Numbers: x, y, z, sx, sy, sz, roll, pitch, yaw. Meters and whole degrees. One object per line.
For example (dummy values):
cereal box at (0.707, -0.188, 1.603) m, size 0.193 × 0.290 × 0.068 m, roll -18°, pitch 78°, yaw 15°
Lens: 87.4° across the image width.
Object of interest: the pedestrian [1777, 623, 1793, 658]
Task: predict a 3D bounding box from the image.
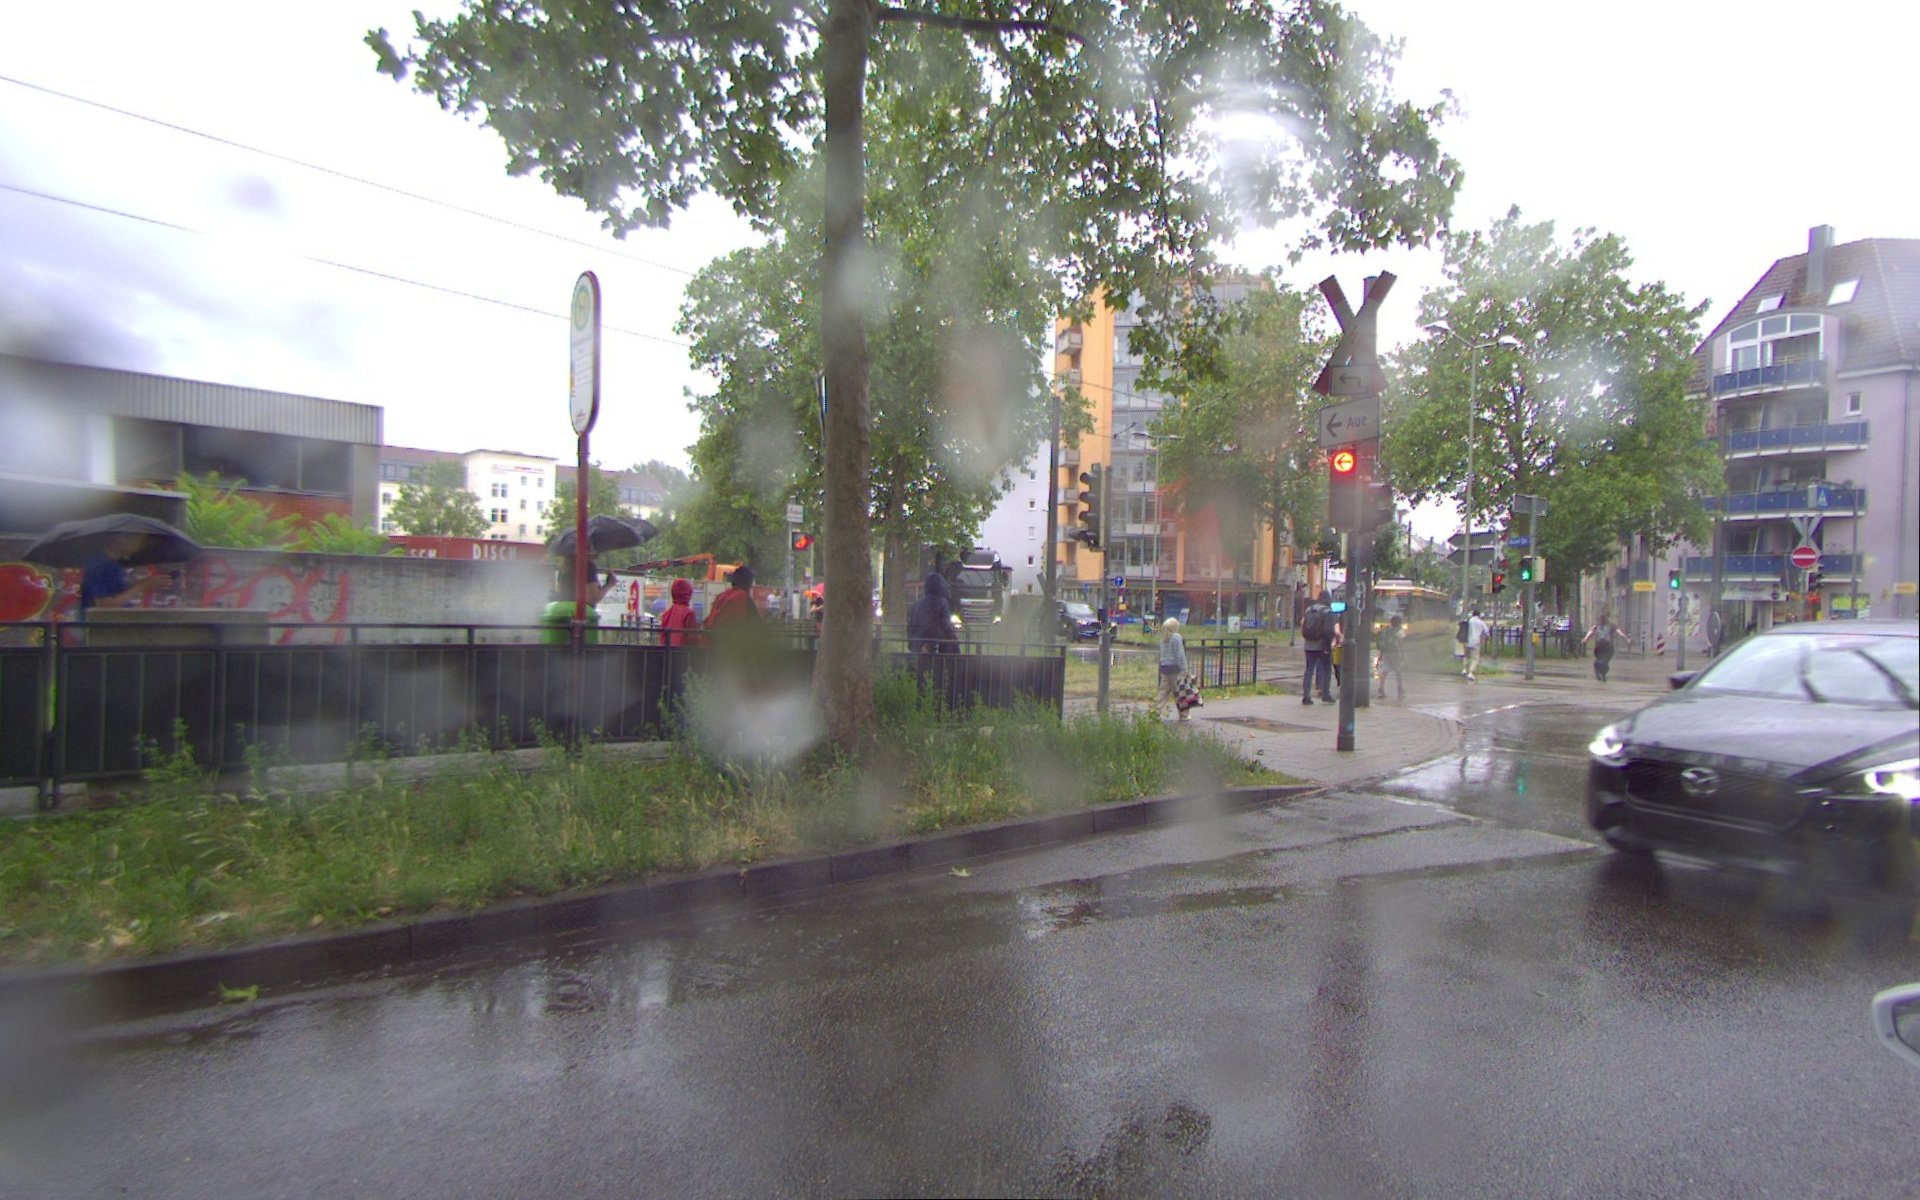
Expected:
pedestrian at (36.160, 1.769, 44.031) m, size 0.557 × 1.477 × 0.440 m, roll 2°, pitch 0°, yaw -39°

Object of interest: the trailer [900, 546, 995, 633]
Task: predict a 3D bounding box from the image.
trailer at (-0.827, -0.486, 50.744) m, size 2.593 × 3.899 × 10.114 m, roll 2°, pitch 0°, yaw -13°

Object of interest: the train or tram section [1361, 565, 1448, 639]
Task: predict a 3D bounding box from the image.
train or tram section at (27.071, 0.254, 60.496) m, size 2.839 × 3.818 × 17.211 m, roll 2°, pitch 0°, yaw 30°

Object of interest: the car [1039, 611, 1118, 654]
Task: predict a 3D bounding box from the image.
car at (4.698, 1.275, 40.444) m, size 1.585 × 1.551 × 4.017 m, roll 1°, pitch 1°, yaw -19°

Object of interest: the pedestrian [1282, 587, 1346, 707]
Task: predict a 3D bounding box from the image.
pedestrian at (5.786, 0.747, 16.401) m, size 0.777 × 1.880 × 0.679 m, roll 2°, pitch 1°, yaw 37°

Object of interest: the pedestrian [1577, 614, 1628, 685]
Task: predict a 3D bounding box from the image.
pedestrian at (14.495, 1.099, 22.652) m, size 0.785 × 1.553 × 0.743 m, roll 2°, pitch 0°, yaw -41°

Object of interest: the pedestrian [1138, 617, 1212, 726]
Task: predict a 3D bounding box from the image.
pedestrian at (2.837, 0.914, 13.266) m, size 0.704 × 1.367 × 0.650 m, roll 1°, pitch 1°, yaw -44°

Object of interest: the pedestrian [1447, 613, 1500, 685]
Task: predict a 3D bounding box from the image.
pedestrian at (11.935, 1.142, 23.356) m, size 0.956 × 1.622 × 0.670 m, roll 2°, pitch 0°, yaw -30°

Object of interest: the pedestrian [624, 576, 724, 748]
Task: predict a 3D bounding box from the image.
pedestrian at (-2.701, 0.556, 9.485) m, size 0.654 × 1.540 × 0.675 m, roll 1°, pitch 0°, yaw -42°

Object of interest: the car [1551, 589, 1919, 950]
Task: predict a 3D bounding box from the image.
car at (5.741, 0.798, 6.271) m, size 4.187 × 1.613 × 1.742 m, roll 1°, pitch 0°, yaw -31°

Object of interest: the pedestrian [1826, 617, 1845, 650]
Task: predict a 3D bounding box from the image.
pedestrian at (37.072, 1.417, 42.523) m, size 0.556 × 1.347 × 0.441 m, roll 2°, pitch 0°, yaw -34°

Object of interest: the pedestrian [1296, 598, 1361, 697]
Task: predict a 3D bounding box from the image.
pedestrian at (6.939, 0.872, 18.908) m, size 0.943 × 1.789 × 0.951 m, roll 2°, pitch 0°, yaw 31°

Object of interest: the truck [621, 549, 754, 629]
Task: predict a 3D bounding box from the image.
truck at (-11.770, -0.435, 43.604) m, size 5.383 × 3.205 × 2.164 m, roll 2°, pitch 0°, yaw -16°

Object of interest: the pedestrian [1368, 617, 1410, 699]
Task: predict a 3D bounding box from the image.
pedestrian at (7.752, 1.023, 18.132) m, size 0.638 × 1.414 × 0.782 m, roll 1°, pitch 0°, yaw 26°

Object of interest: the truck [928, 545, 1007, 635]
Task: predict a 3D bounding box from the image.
truck at (0.267, -0.410, 46.054) m, size 2.593 × 3.842 × 4.444 m, roll 2°, pitch 0°, yaw -13°

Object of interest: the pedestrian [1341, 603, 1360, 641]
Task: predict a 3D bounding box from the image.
pedestrian at (23.046, 1.283, 59.235) m, size 0.871 × 2.179 × 0.910 m, roll 2°, pitch 0°, yaw 29°

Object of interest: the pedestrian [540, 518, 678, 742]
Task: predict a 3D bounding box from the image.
pedestrian at (-2.829, 0.241, 8.125) m, size 0.783 × 1.705 × 0.659 m, roll -2°, pitch 0°, yaw 23°

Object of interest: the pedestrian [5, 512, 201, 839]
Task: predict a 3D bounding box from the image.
pedestrian at (-5.455, 0.437, 6.418) m, size 0.885 × 1.889 × 0.861 m, roll 1°, pitch 1°, yaw -42°

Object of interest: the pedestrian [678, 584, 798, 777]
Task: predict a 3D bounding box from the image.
pedestrian at (-2.010, 0.686, 9.122) m, size 0.812 × 1.646 × 0.722 m, roll 0°, pitch 0°, yaw -44°

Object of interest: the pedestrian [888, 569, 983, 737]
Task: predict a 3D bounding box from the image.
pedestrian at (-0.253, 0.544, 10.747) m, size 0.823 × 1.722 × 0.689 m, roll -1°, pitch 0°, yaw 17°
